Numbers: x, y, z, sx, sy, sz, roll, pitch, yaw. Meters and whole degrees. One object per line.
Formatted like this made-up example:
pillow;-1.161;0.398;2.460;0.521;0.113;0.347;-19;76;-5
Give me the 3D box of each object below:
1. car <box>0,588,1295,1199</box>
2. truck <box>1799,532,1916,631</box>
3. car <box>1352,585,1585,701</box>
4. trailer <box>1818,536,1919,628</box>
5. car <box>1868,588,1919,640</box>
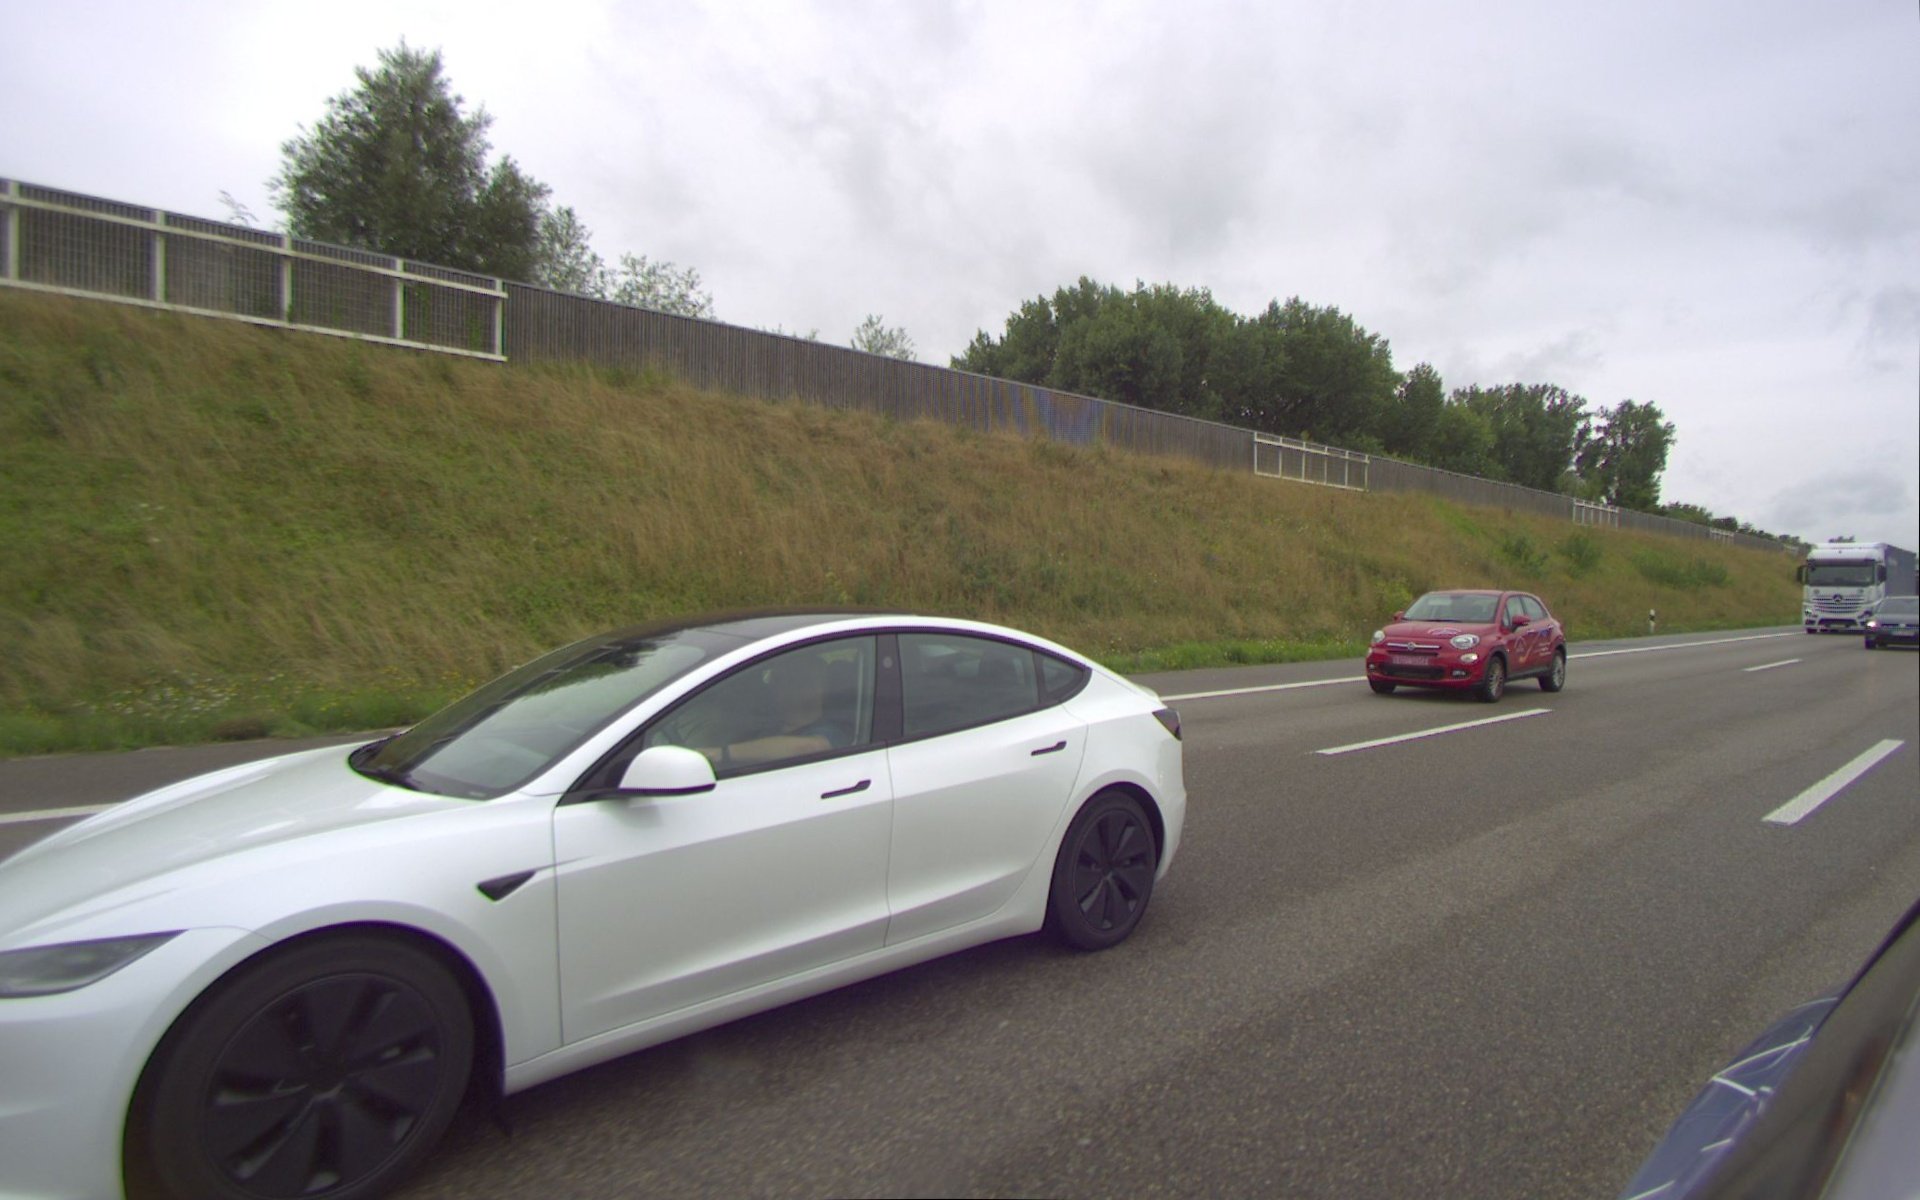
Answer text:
car;-0.774;0.649;4.101;4.728;1.380;1.877;-1;1;-40
truck;40.063;-0.794;45.118;6.836;4.077;3.086;-1;0;-41
car;7.897;0.549;15.577;3.931;1.554;1.876;-1;1;-41
trailer;46.320;-0.877;50.577;14.959;4.077;3.086;-1;0;-41
car;29.488;0.401;30.995;4.407;1.507;1.928;-1;1;-40
